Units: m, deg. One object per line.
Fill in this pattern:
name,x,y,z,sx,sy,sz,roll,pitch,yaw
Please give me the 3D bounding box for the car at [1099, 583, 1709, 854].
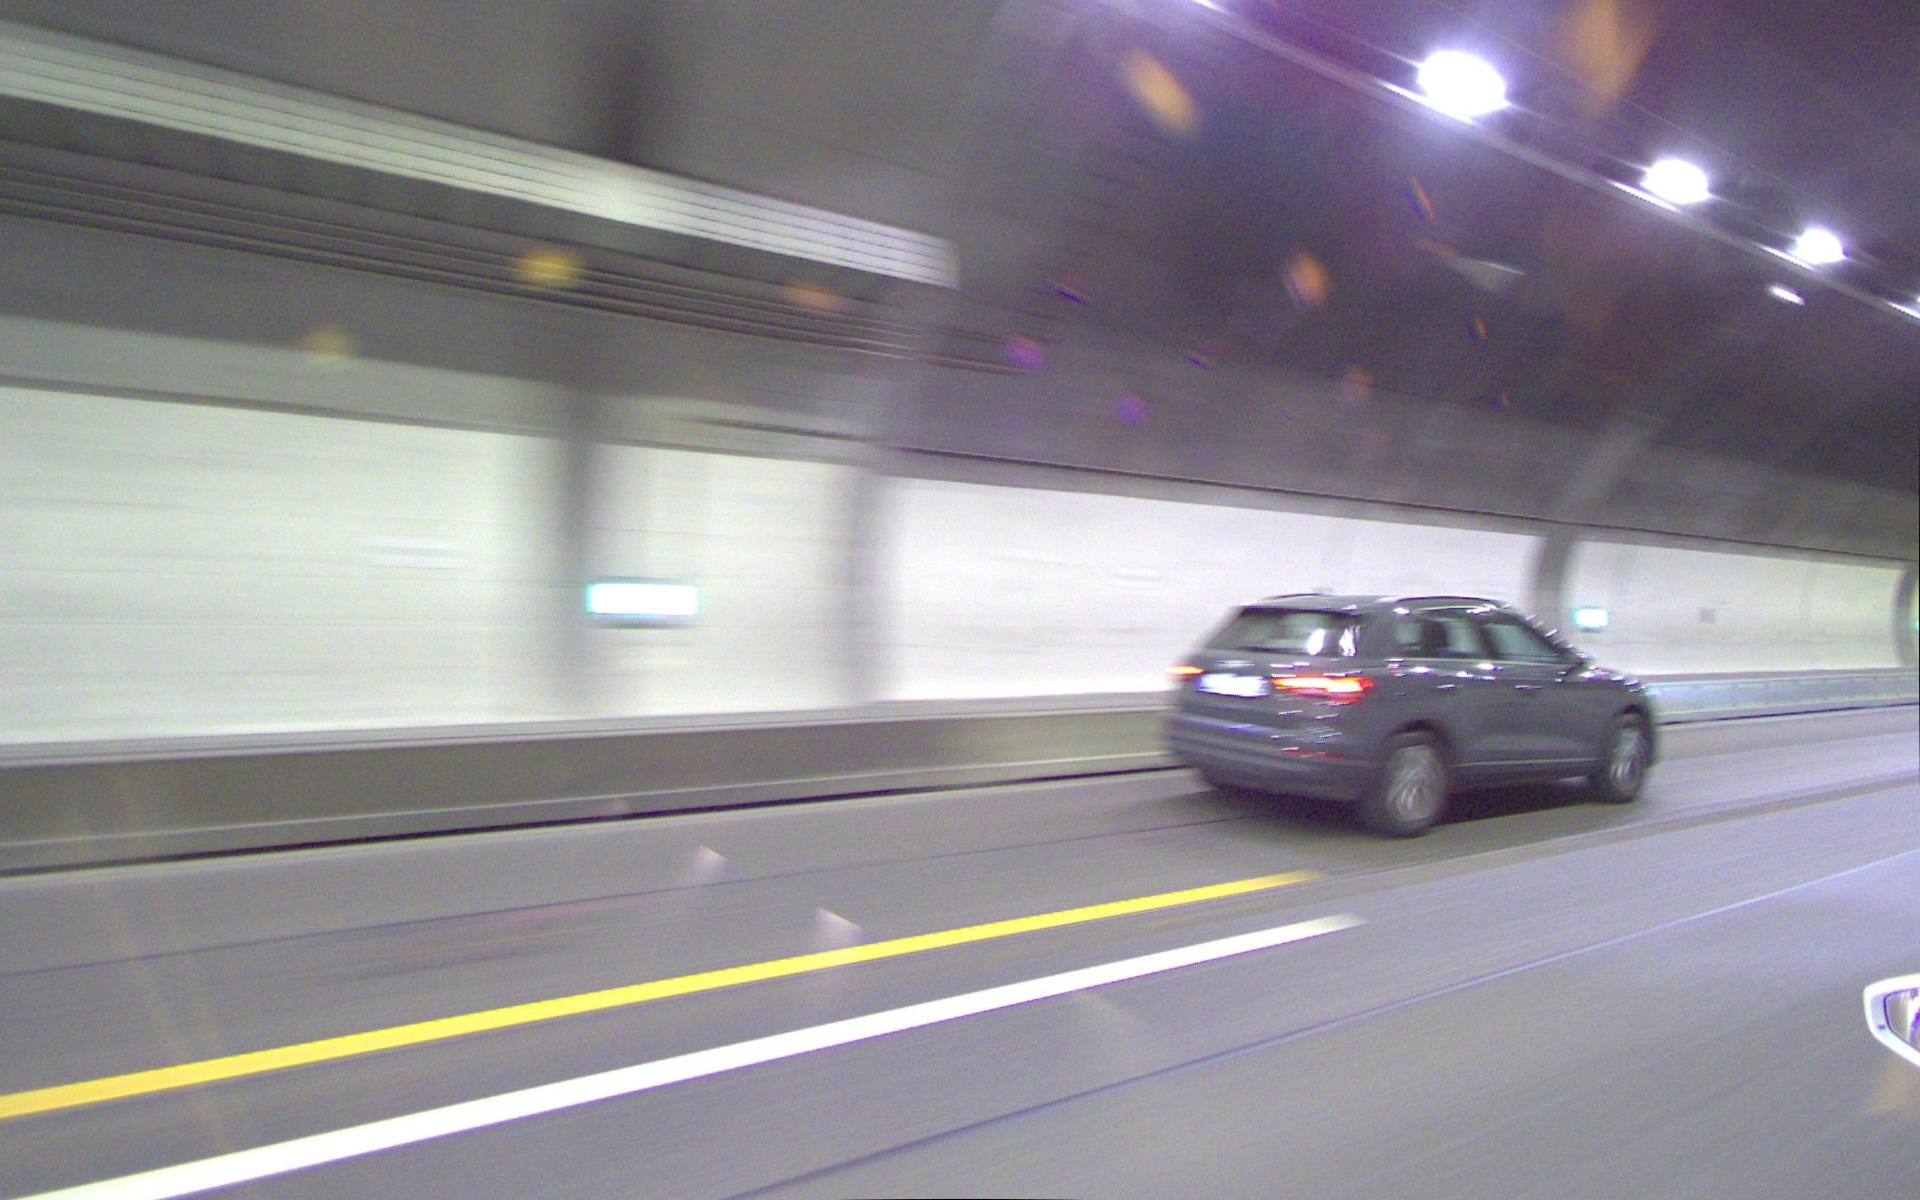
car,3.562,0.746,7.834,4.687,1.561,1.984,2,-1,-30
